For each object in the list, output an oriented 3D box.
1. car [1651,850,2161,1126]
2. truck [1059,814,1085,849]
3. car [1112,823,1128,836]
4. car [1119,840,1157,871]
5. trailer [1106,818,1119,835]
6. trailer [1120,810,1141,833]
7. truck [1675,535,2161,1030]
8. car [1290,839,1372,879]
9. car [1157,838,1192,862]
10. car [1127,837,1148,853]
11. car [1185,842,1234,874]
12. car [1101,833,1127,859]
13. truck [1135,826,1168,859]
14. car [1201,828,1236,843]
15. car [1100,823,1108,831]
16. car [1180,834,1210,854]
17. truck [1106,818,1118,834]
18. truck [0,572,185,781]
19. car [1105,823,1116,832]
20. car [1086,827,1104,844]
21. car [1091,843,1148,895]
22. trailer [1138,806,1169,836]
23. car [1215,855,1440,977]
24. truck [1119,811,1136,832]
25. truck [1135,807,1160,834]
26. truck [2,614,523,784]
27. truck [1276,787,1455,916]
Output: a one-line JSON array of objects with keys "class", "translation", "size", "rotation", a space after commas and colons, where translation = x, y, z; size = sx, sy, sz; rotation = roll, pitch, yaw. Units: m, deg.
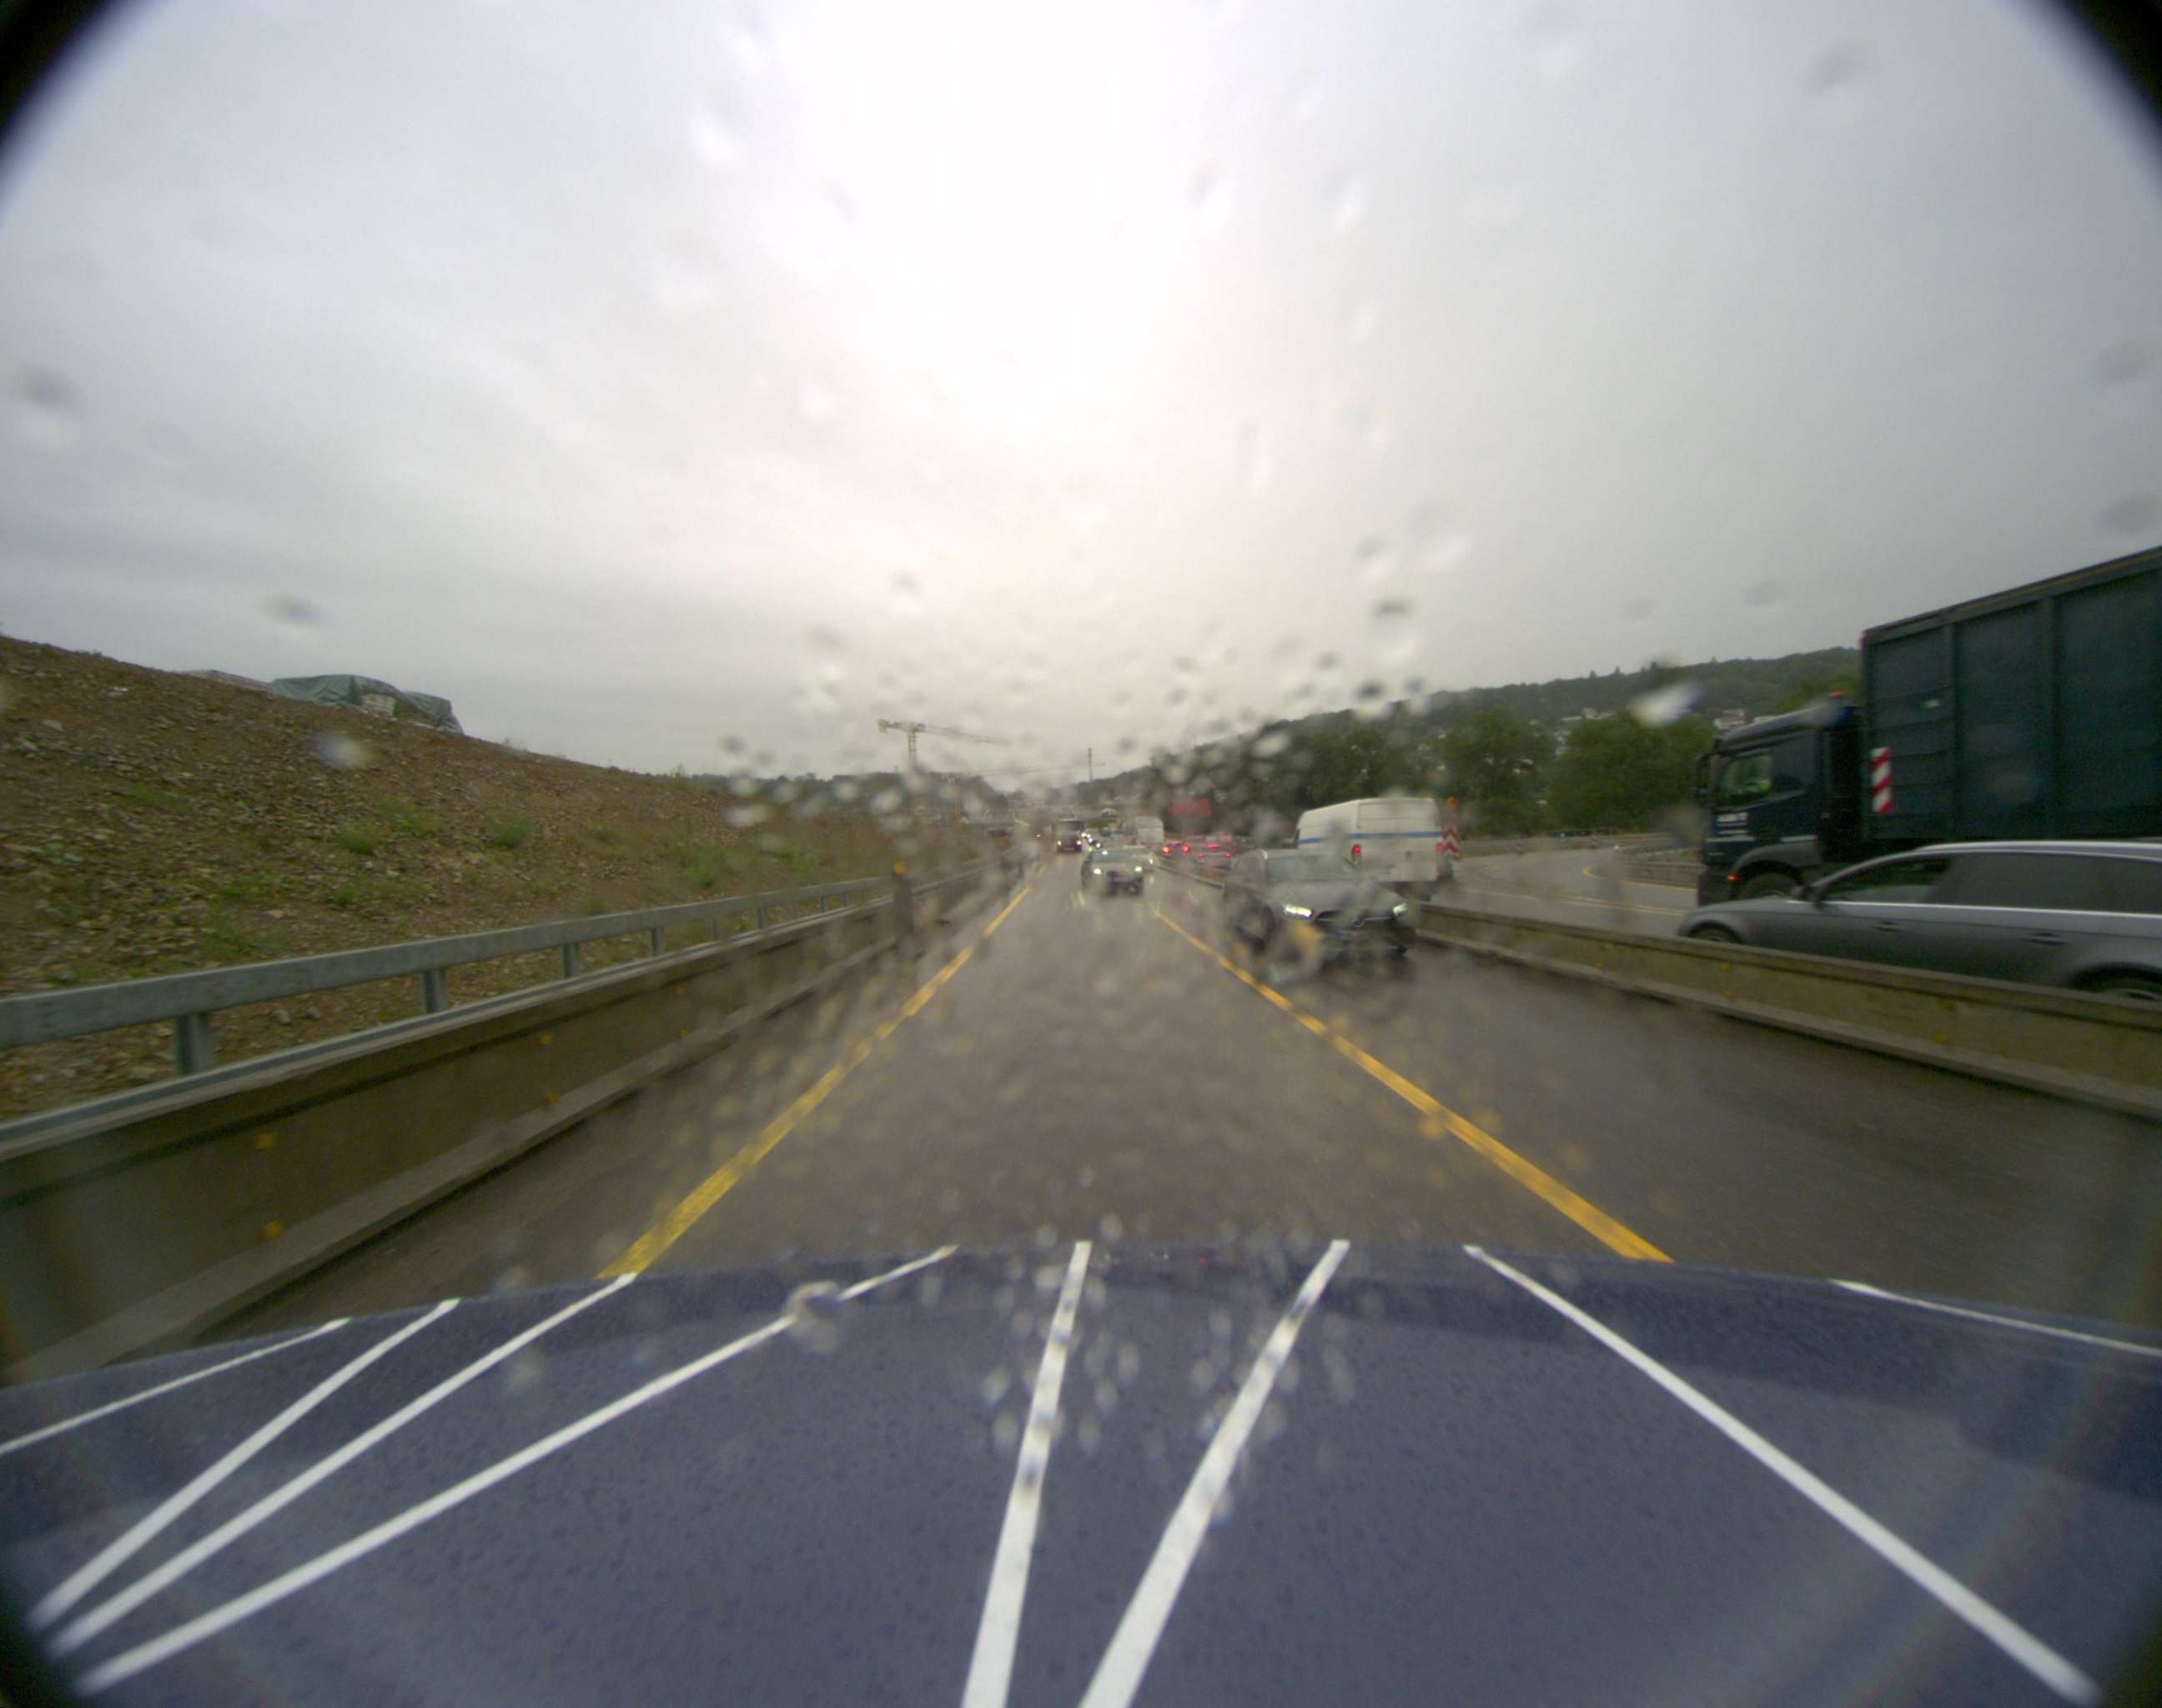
[{"class": "car", "translation": [6.839, 0.732, 5.466], "size": [1.874, 1.463, 4.669], "rotation": [-2, 1, -2]}, {"class": "truck", "translation": [-0.889, -2.428, 79.762], "size": [2.576, 3.452, 6.623], "rotation": [-2, 3, 0]}, {"class": "car", "translation": [5.627, -3.498, 109.989], "size": [1.870, 1.790, 4.160], "rotation": [-2, 3, -1]}, {"class": "car", "translation": [3.091, 0.044, 41.975], "size": [1.781, 1.430, 4.481], "rotation": [-2, 3, 0]}, {"class": "trailer", "translation": [7.864, -6.891, 189.075], "size": [2.693, 3.942, 9.813], "rotation": [0, 3, -1]}, {"class": "trailer", "translation": [9.188, -6.038, 141.917], "size": [2.756, 4.020, 15.350], "rotation": [-2, 3, 0]}, {"class": "truck", "translation": [9.960, -0.597, 6.273], "size": [2.648, 3.947, 9.211], "rotation": [-2, 0, -2]}, {"class": "car", "translation": [10.200, 0.148, 31.260], "size": [1.731, 1.515, 3.873], "rotation": [-1, 1, -7]}, {"class": "car", "translation": [6.368, -0.303, 52.322], "size": [1.791, 1.530, 4.310], "rotation": [-1, 2, -1]}, {"class": "car", "translation": [5.903, -0.994, 79.841], "size": [1.777, 1.496, 4.676], "rotation": [-1, 2, -1]}, {"class": "car", "translation": [6.535, 0.162, 39.126], "size": [1.681, 1.515, 4.343], "rotation": [-1, 1, -1]}, {"class": "car", "translation": [2.670, -0.652, 61.483], "size": [1.998, 2.002, 4.000], "rotation": [-1, 2, 4]}, {"class": "truck", "translation": [5.966, -1.026, 64.844], "size": [2.084, 2.562, 5.958], "rotation": [-2, 3, -1]}, {"class": "car", "translation": [16.752, -2.267, 92.917], "size": [1.852, 1.691, 5.034], "rotation": [-3, 3, -22]}, {"class": "car", "translation": [5.507, -6.383, 180.432], "size": [1.792, 1.796, 5.186], "rotation": [0, 3, -1]}, {"class": "car", "translation": [9.578, -0.847, 63.933], "size": [1.792, 1.538, 3.998], "rotation": [-2, 2, -1]}, {"class": "truck", "translation": [7.820, -7.104, 193.545], "size": [2.693, 3.906, 5.270], "rotation": [0, 3, -1]}, {"class": "truck", "translation": [-24.028, -3.845, 16.236], "size": [2.379, 4.195, 5.975], "rotation": [-2, 3, -1]}, {"class": "car", "translation": [6.009, -5.422, 154.174], "size": [1.999, 1.749, 4.685], "rotation": [-2, 2, -1]}, {"class": "car", "translation": [1.732, -2.341, 96.311], "size": [1.999, 2.002, 4.186], "rotation": [-2, 0, -1]}, {"class": "car", "translation": [1.277, 0.465, 26.758], "size": [1.781, 1.515, 4.138], "rotation": [-2, 3, 0]}, {"class": "trailer", "translation": [9.320, -4.306, 99.231], "size": [2.627, 3.657, 11.996], "rotation": [-2, 2, -1]}, {"class": "car", "translation": [3.436, 0.763, 11.606], "size": [1.952, 1.430, 4.483], "rotation": [-2, 0, 0]}, {"class": "truck", "translation": [9.138, -6.383, 149.514], "size": [2.756, 4.040, 6.144], "rotation": [-2, 3, 0]}, {"class": "truck", "translation": [9.190, -4.625, 105.303], "size": [2.627, 3.657, 6.591], "rotation": [-2, 3, -1]}, {"class": "truck", "translation": [-19.571, -3.480, 19.606], "size": [3.403, 2.859, 8.956], "rotation": [-1, 3, 1]}, {"class": "truck", "translation": [6.877, -0.104, 19.307], "size": [2.153, 2.698, 6.014], "rotation": [-2, 1, -1]}]
